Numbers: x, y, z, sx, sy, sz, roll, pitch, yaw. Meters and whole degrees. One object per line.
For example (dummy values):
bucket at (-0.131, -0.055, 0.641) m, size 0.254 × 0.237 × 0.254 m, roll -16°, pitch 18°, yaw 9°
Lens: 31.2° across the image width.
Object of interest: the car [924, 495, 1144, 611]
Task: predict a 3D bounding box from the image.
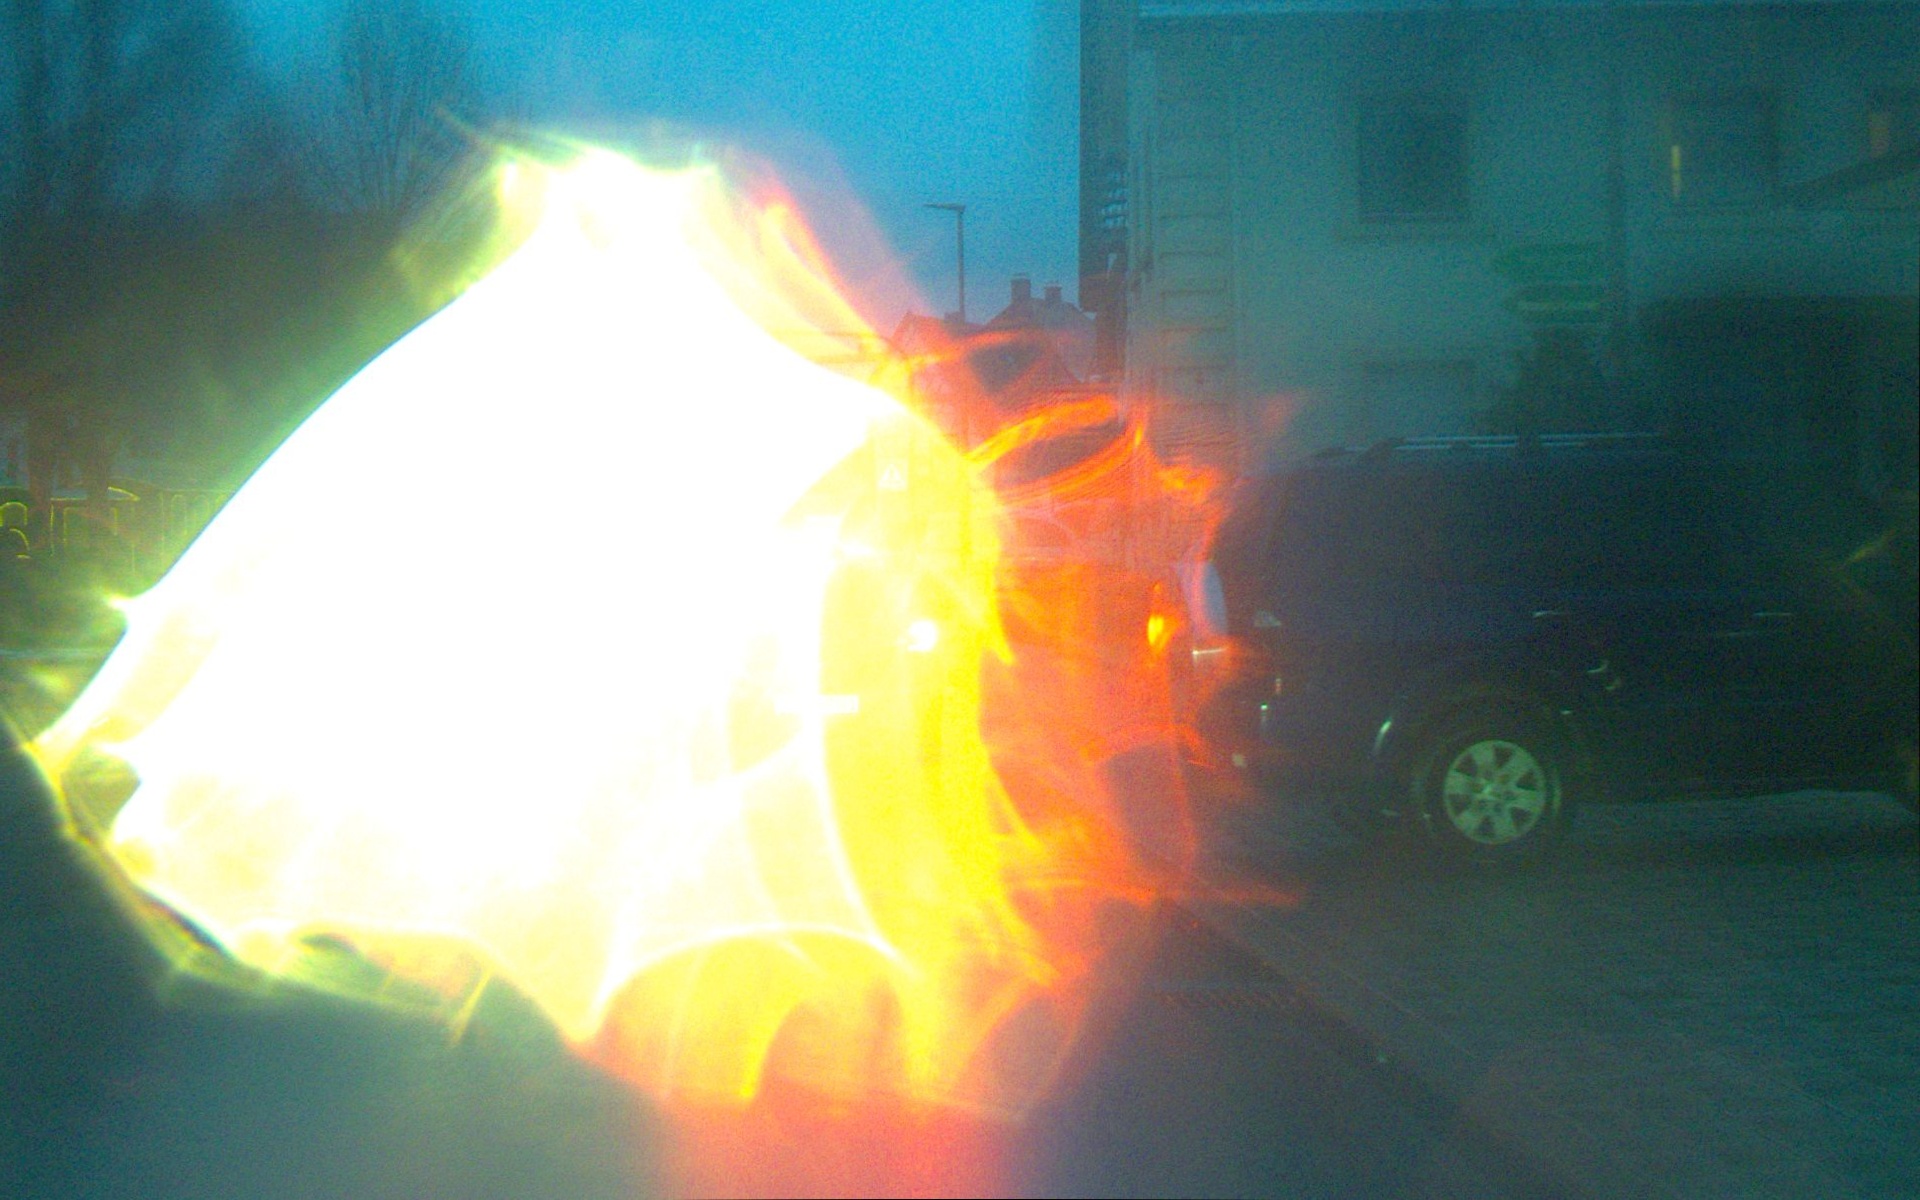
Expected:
car at (1.428, -0.907, 65.337) m, size 4.097 × 2.155 × 1.913 m, roll 0°, pitch 1°, yaw 4°

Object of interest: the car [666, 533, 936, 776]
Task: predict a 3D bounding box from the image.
car at (-1.069, 0.311, 22.701) m, size 1.638 × 1.476 × 3.379 m, roll 0°, pitch 1°, yaw -3°

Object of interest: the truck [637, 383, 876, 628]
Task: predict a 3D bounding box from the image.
truck at (-2.971, -1.286, 48.014) m, size 3.015 × 3.118 × 8.002 m, roll 0°, pitch 1°, yaw -6°

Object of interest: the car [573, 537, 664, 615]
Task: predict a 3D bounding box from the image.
car at (-7.316, -0.546, 73.963) m, size 1.810 × 1.590 × 4.400 m, roll 0°, pitch 1°, yaw -4°

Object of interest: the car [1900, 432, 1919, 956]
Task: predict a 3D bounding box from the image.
car at (3.787, 0.433, 6.348) m, size 3.503 × 1.675 × 1.716 m, roll -3°, pitch 1°, yaw -8°

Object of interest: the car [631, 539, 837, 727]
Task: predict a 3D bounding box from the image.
car at (-1.887, 0.235, 29.130) m, size 1.638 × 1.476 × 3.272 m, roll 0°, pitch 1°, yaw -3°

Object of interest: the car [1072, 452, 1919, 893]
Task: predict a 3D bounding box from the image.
car at (2.956, 0.256, 15.551) m, size 4.602 × 1.769 × 1.946 m, roll -1°, pitch 1°, yaw -7°

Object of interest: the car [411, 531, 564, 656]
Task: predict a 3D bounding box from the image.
car at (-5.992, -0.112, 43.901) m, size 1.638 × 1.530 × 3.407 m, roll 0°, pitch 1°, yaw -3°

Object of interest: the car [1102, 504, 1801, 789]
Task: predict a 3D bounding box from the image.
car at (2.938, 0.250, 20.943) m, size 3.869 × 1.574 × 1.682 m, roll -1°, pitch 1°, yaw -8°
